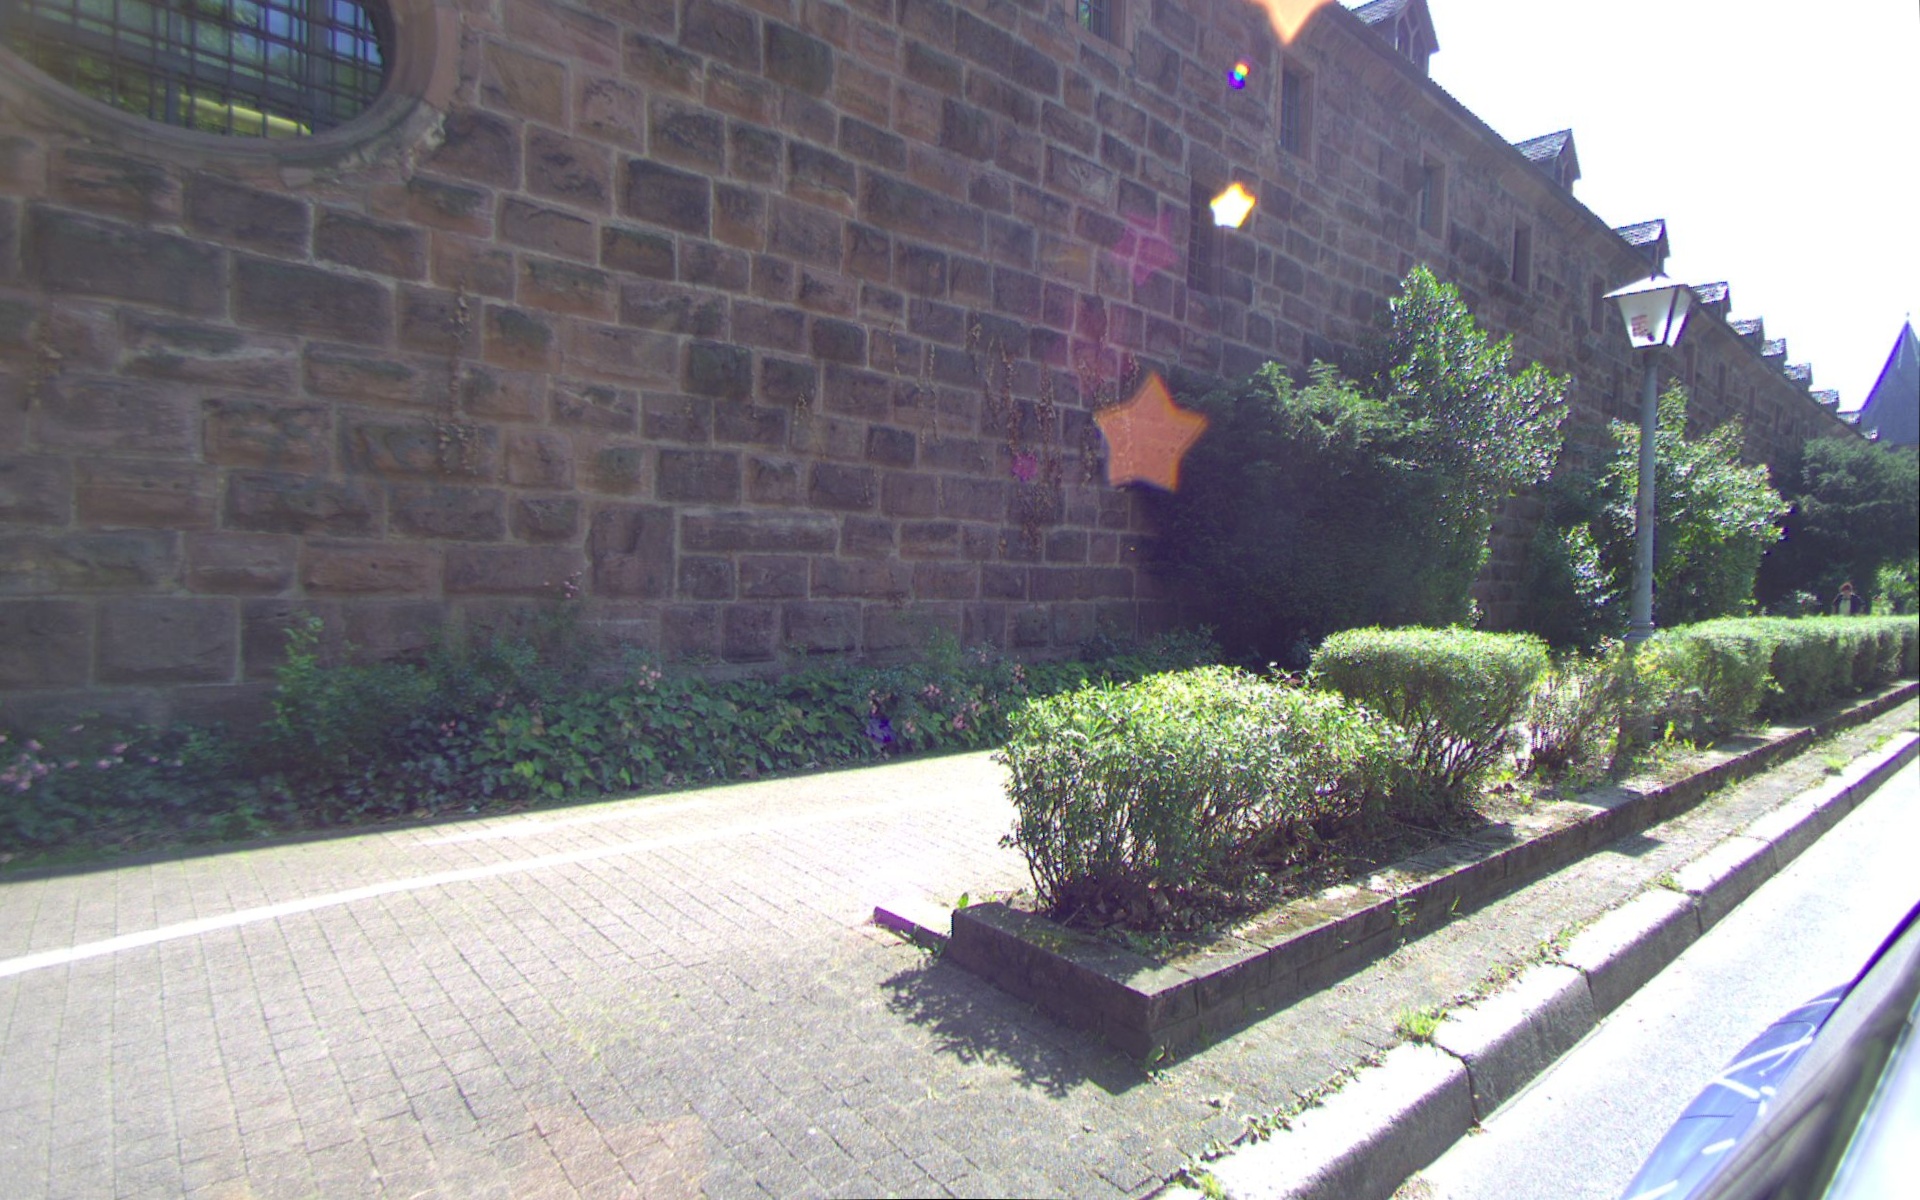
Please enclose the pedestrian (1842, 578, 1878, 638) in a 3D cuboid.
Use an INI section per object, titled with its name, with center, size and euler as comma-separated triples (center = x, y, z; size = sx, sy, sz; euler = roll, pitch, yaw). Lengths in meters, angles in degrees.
[pedestrian]
center = 23.877, 0.205, 26.860
size = 0.554, 1.583, 0.642
euler = 0, 0, -41
